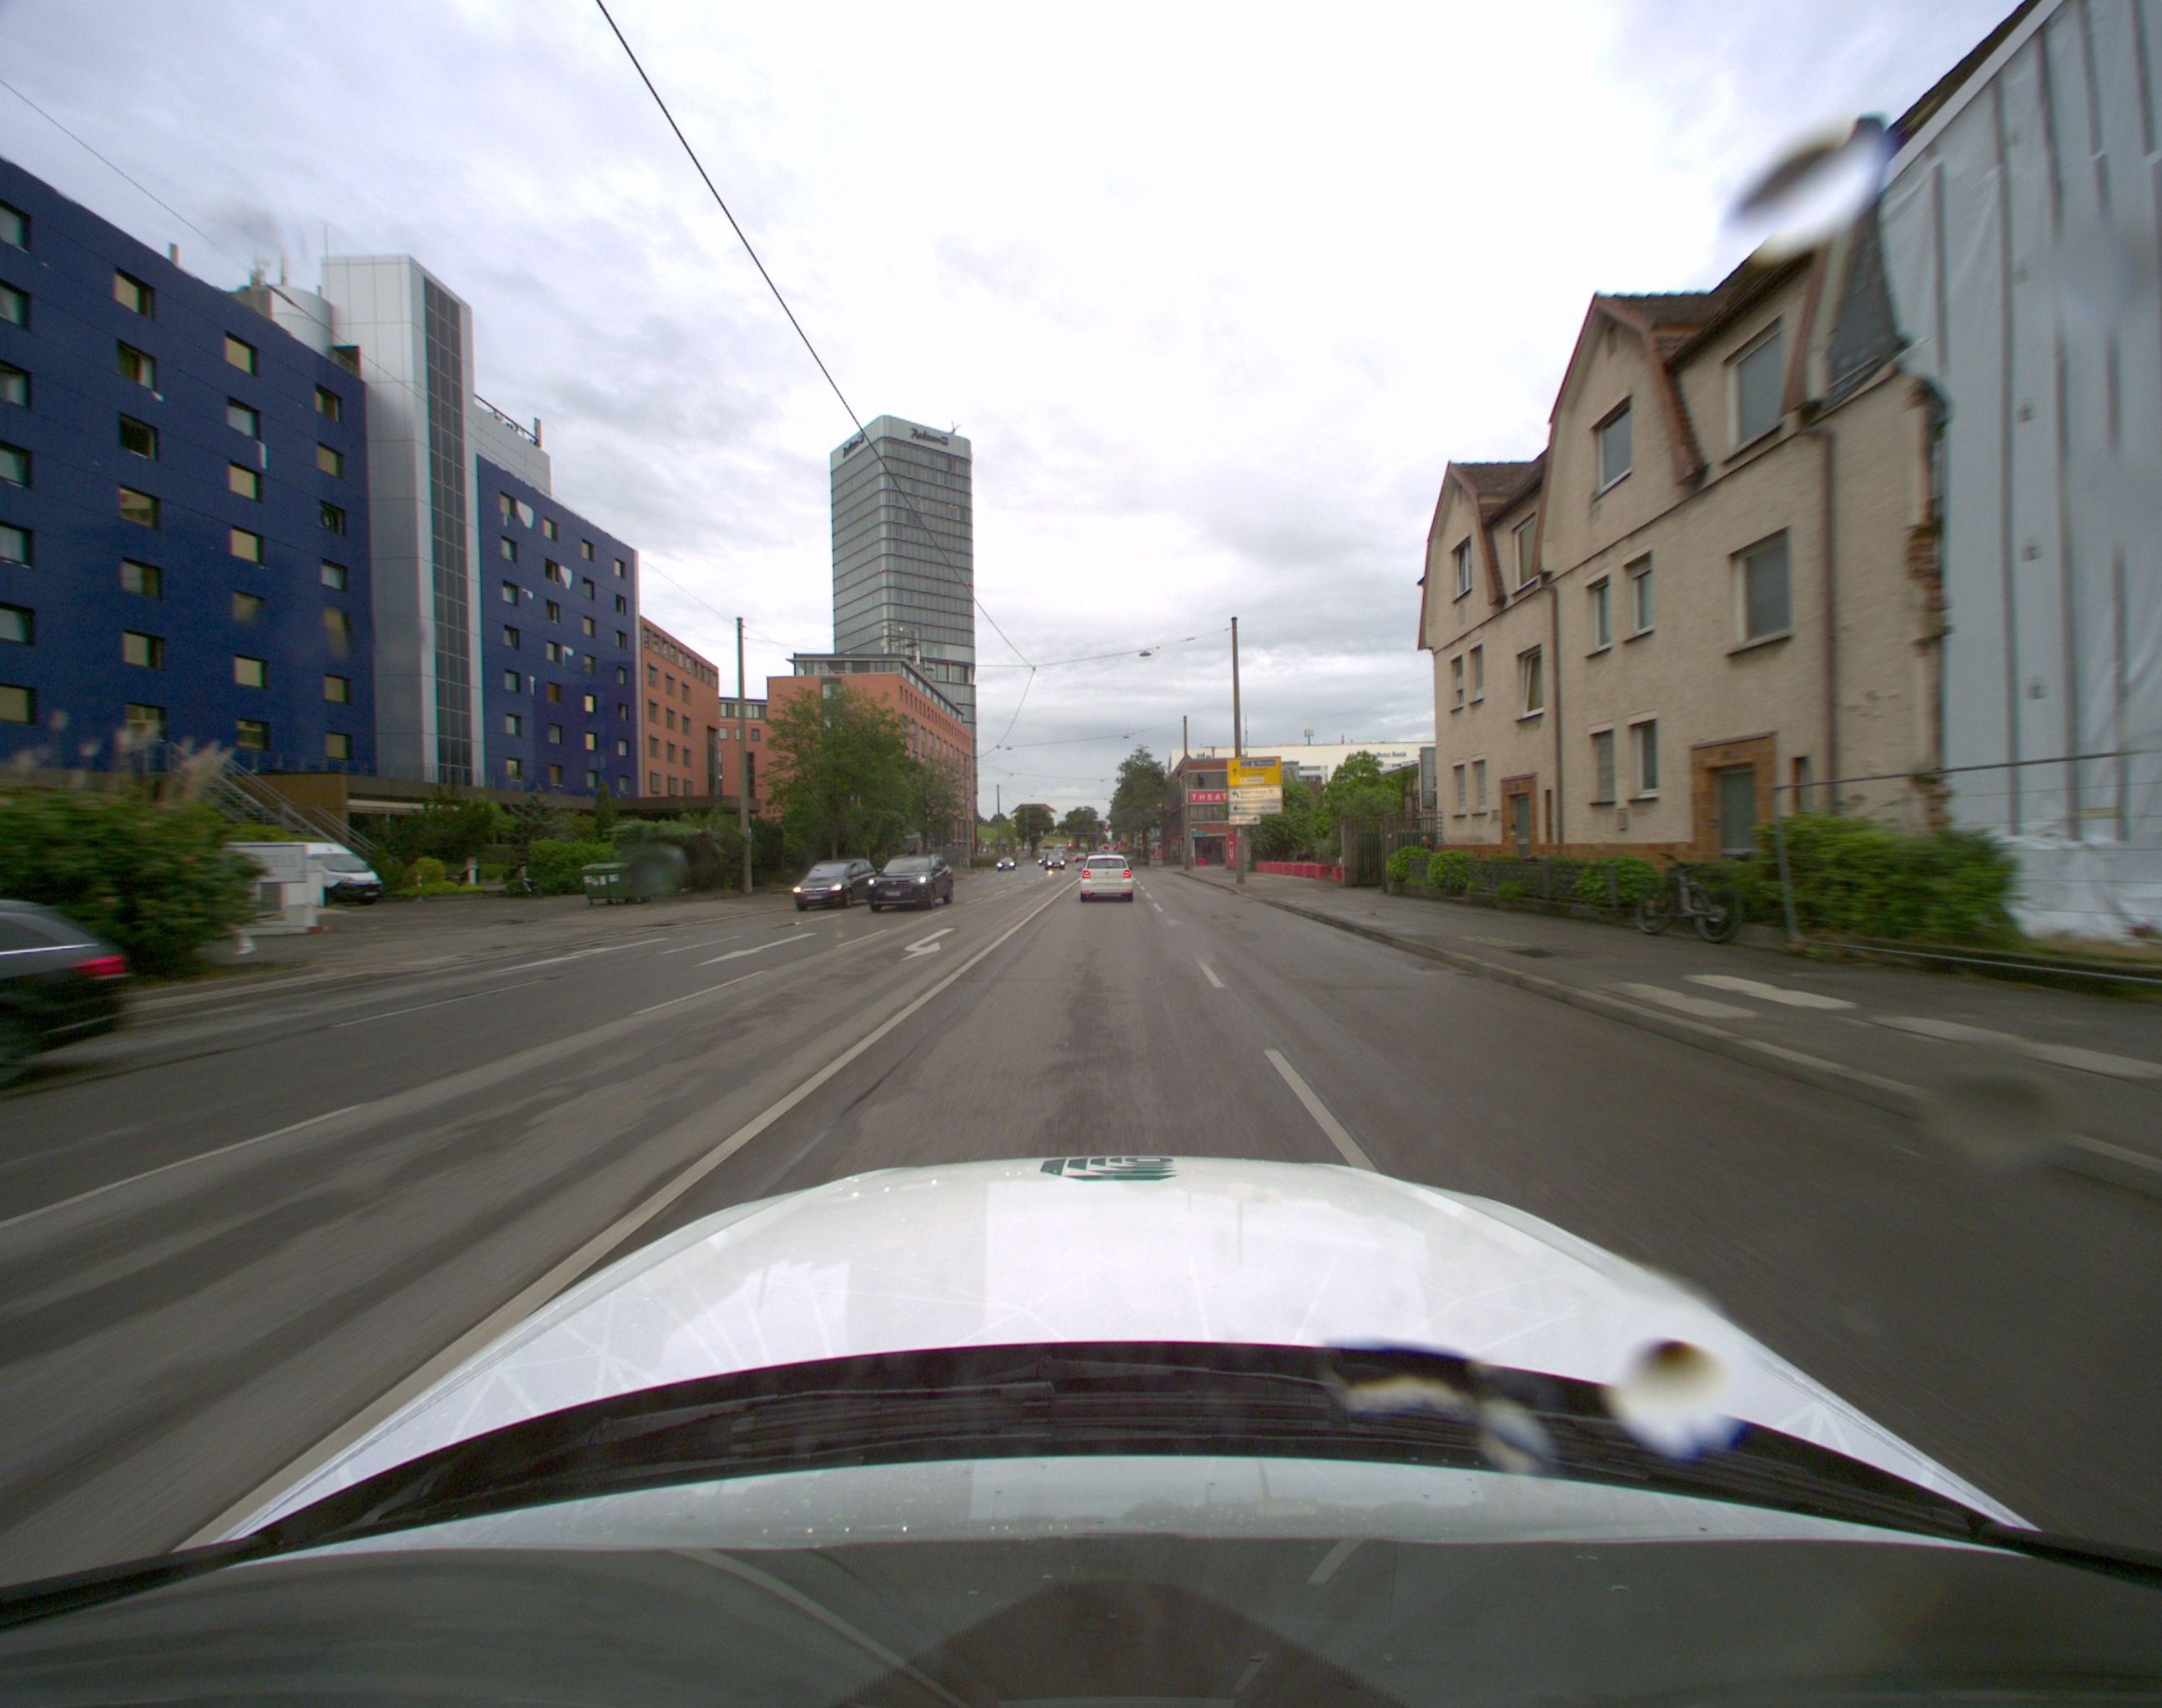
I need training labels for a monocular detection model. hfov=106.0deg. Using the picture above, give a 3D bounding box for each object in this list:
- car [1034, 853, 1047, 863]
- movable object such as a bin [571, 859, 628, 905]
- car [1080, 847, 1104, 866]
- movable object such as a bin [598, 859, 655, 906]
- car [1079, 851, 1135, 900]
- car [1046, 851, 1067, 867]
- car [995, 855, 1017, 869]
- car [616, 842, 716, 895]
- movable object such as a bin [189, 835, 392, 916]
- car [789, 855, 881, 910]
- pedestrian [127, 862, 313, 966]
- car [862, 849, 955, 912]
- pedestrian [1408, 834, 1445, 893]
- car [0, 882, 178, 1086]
[{"bbox_3d":[-5.776,0.549,115.373,1.707,1.365,3.997,-2,0,-2],"label":"car"},{"bbox_3d":[-16.867,0.987,28.565,1.380,1.491,0.955,-4,-2,13],"label":"movable object such as a bin"},{"bbox_3d":[1.003,0.188,73.764,1.985,1.574,4.004,-2,0,3],"label":"car"},{"bbox_3d":[-15.492,0.956,27.779,1.389,1.491,0.949,-3,-2,-8],"label":"movable object such as a bin"},{"bbox_3d":[0.806,0.645,26.532,1.665,1.474,3.779,-1,0,0],"label":"car"},{"bbox_3d":[-2.332,0.465,78.481,1.653,1.486,3.822,-1,0,2],"label":"car"},{"bbox_3d":[-8.067,0.832,88.135,1.614,1.323,4.450,-3,1,3],"label":"car"},{"bbox_3d":[-17.602,0.641,34.778,1.829,2.014,4.317,-4,-2,2],"label":"car"},{"bbox_3d":[-29.997,0.833,31.025,5.604,2.628,2.162,-4,-2,1],"label":"movable object such as a bin"},{"bbox_3d":[-8.298,0.894,27.843,1.701,1.566,4.037,-4,1,2],"label":"car"},{"bbox_3d":[-15.974,1.042,15.159,1.976,1.720,1.704,0,1,21],"label":"pedestrian"},{"bbox_3d":[-5.242,0.740,25.335,1.750,1.555,4.452,-4,2,1],"label":"car"},{"bbox_3d":[10.439,0.283,24.641,0.904,1.764,0.770,0,0,14],"label":"pedestrian"},{"bbox_3d":[-9.148,1.104,5.001,1.726,1.476,4.702,-3,2,3],"label":"car"}]
